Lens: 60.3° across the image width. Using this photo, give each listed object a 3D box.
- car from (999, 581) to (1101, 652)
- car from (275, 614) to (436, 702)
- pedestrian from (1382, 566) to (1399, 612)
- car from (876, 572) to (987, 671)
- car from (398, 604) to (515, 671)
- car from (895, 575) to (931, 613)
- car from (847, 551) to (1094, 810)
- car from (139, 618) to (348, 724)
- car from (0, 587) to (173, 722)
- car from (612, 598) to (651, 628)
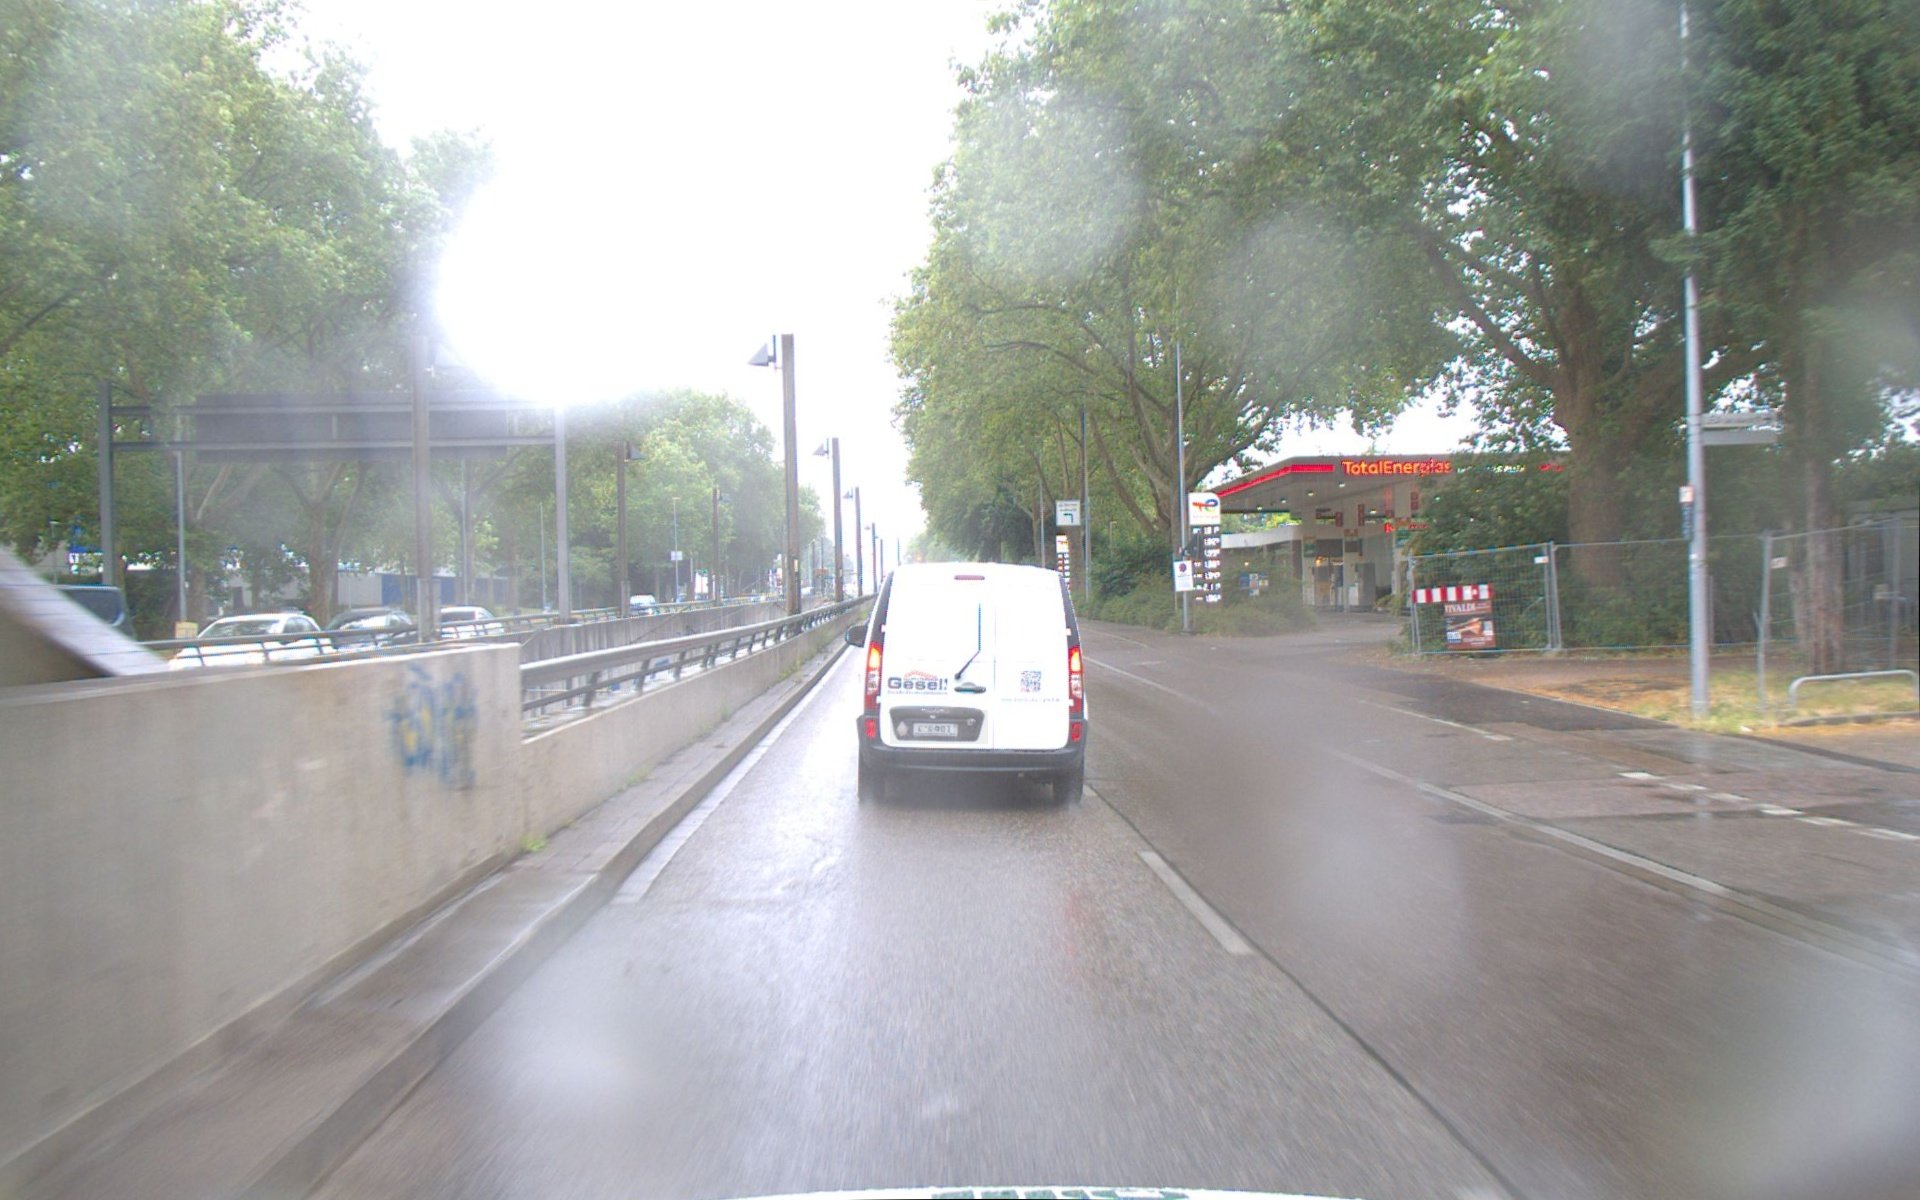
[{"bbox_3d":[2.184,0.400,41.179,1.955,1.612,3.996,-3,0,-5],"label":"car"},{"bbox_3d":[-12.852,1.186,35.455,1.953,1.661,4.088,-2,0,-1],"label":"car"},{"bbox_3d":[16.728,-0.427,64.258,0.542,1.755,0.726,-2,0,17],"label":"pedestrian"},{"bbox_3d":[-0.564,0.372,30.723,1.879,1.637,3.998,-2,0,-2],"label":"car"},{"bbox_3d":[-13.571,0.970,44.834,1.954,1.661,4.577,-2,0,-3],"label":"car"},{"bbox_3d":[-2.791,-0.338,98.696,2.007,2.177,3.999,-2,0,-1],"label":"car"},{"bbox_3d":[-0.041,0.577,13.681,1.721,1.808,3.997,1,0,-4],"label":"car"},{"bbox_3d":[-12.679,1.201,29.558,1.953,1.661,4.088,-2,0,-1],"label":"car"},{"bbox_3d":[-12.552,0.690,21.992,1.941,1.601,5.533,-2,0,-6],"label":"car"},{"bbox_3d":[-18.761,0.726,94.544,1.872,1.598,3.993,-2,1,-8],"label":"car"}]
